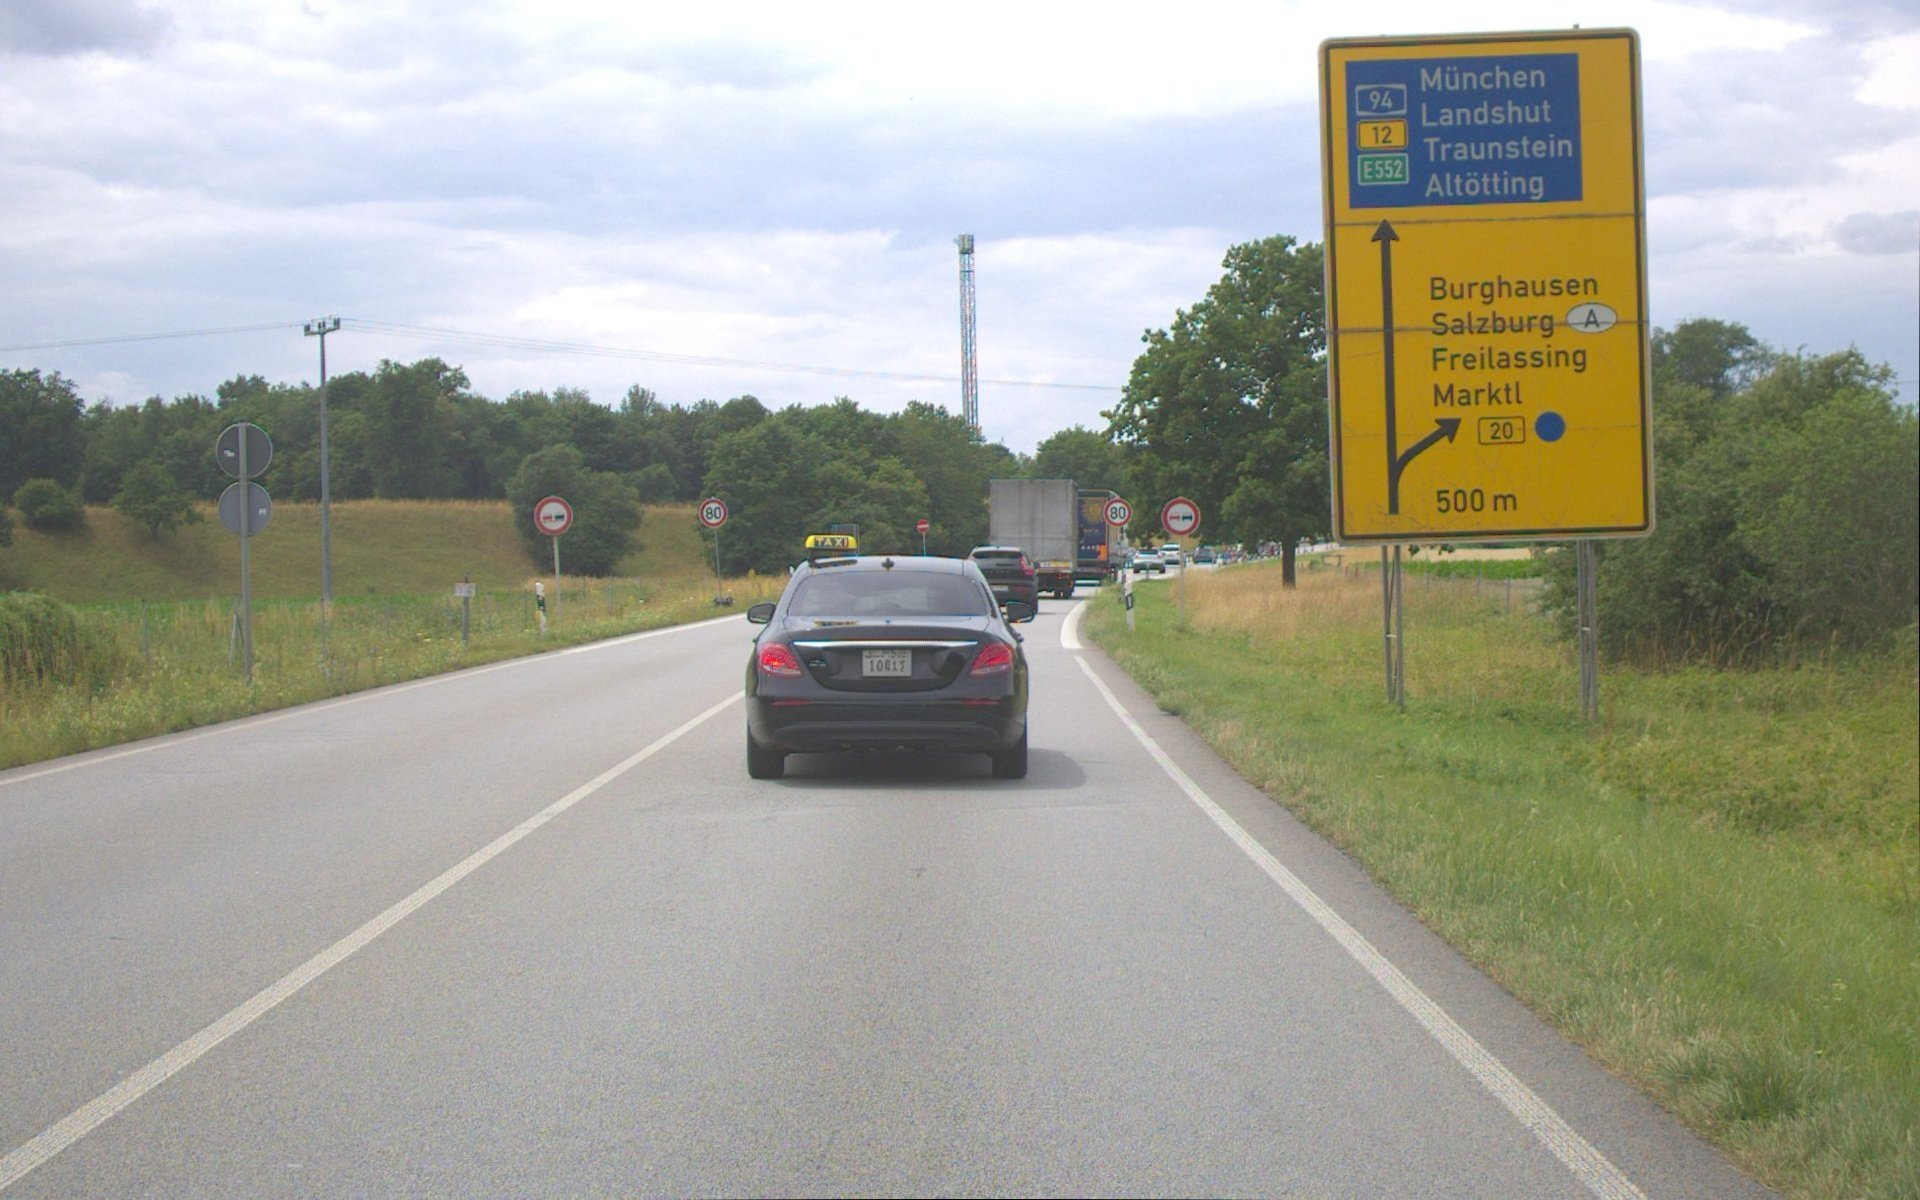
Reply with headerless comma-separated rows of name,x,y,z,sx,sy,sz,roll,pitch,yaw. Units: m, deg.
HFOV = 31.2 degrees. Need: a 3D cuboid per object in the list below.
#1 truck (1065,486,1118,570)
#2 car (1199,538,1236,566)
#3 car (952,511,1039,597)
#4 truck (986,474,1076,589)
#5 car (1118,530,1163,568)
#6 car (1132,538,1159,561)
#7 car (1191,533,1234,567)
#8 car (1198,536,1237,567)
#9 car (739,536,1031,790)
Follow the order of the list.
truck,5.632,-3.063,147.783,1.993,3.513,4.592,1,0,-1
car,15.218,-2.827,203.396,1.795,1.657,4.000,1,1,-1
car,0.845,-1.118,83.445,1.993,2.007,4.000,1,1,-1
truck,2.192,-2.123,108.086,2.587,3.512,4.813,1,1,-1
car,8.143,-2.303,155.315,1.795,1.657,4.000,1,1,-1
car,11.637,-3.185,215.735,1.649,1.391,3.705,1,1,4
car,12.812,-2.531,174.507,1.795,1.657,4.000,1,1,-1
car,14.183,-2.683,189.298,1.795,1.657,4.000,1,1,-1
car,-0.489,0.373,23.369,1.795,1.554,4.000,1,1,-1
